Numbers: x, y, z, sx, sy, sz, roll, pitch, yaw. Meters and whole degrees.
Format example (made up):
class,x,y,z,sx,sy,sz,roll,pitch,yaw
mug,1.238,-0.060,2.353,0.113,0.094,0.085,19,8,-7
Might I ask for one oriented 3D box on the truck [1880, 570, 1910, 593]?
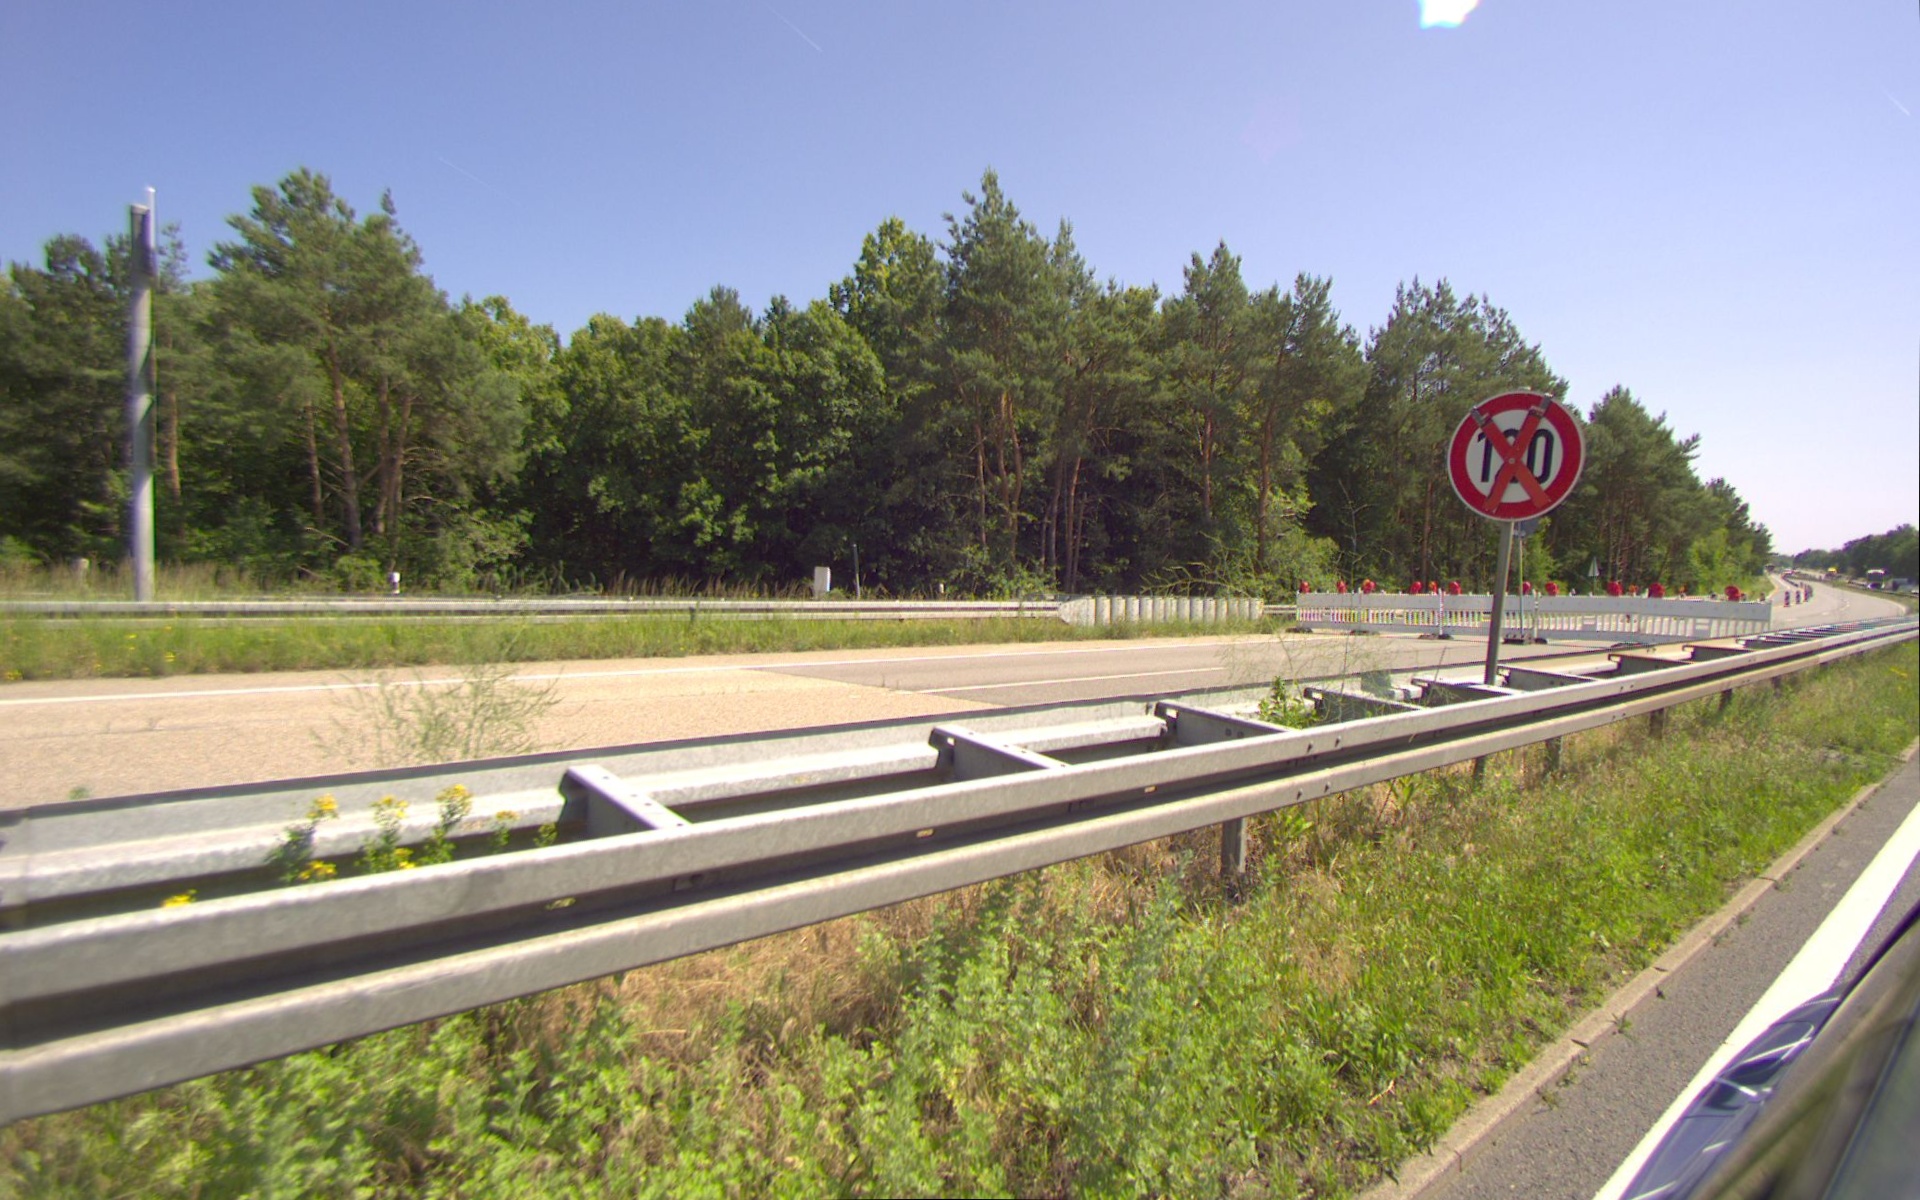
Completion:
class,x,y,z,sx,sy,sz,roll,pitch,yaw
truck,177.788,-3.494,192.331,3.821,4.343,11.067,2,1,44
